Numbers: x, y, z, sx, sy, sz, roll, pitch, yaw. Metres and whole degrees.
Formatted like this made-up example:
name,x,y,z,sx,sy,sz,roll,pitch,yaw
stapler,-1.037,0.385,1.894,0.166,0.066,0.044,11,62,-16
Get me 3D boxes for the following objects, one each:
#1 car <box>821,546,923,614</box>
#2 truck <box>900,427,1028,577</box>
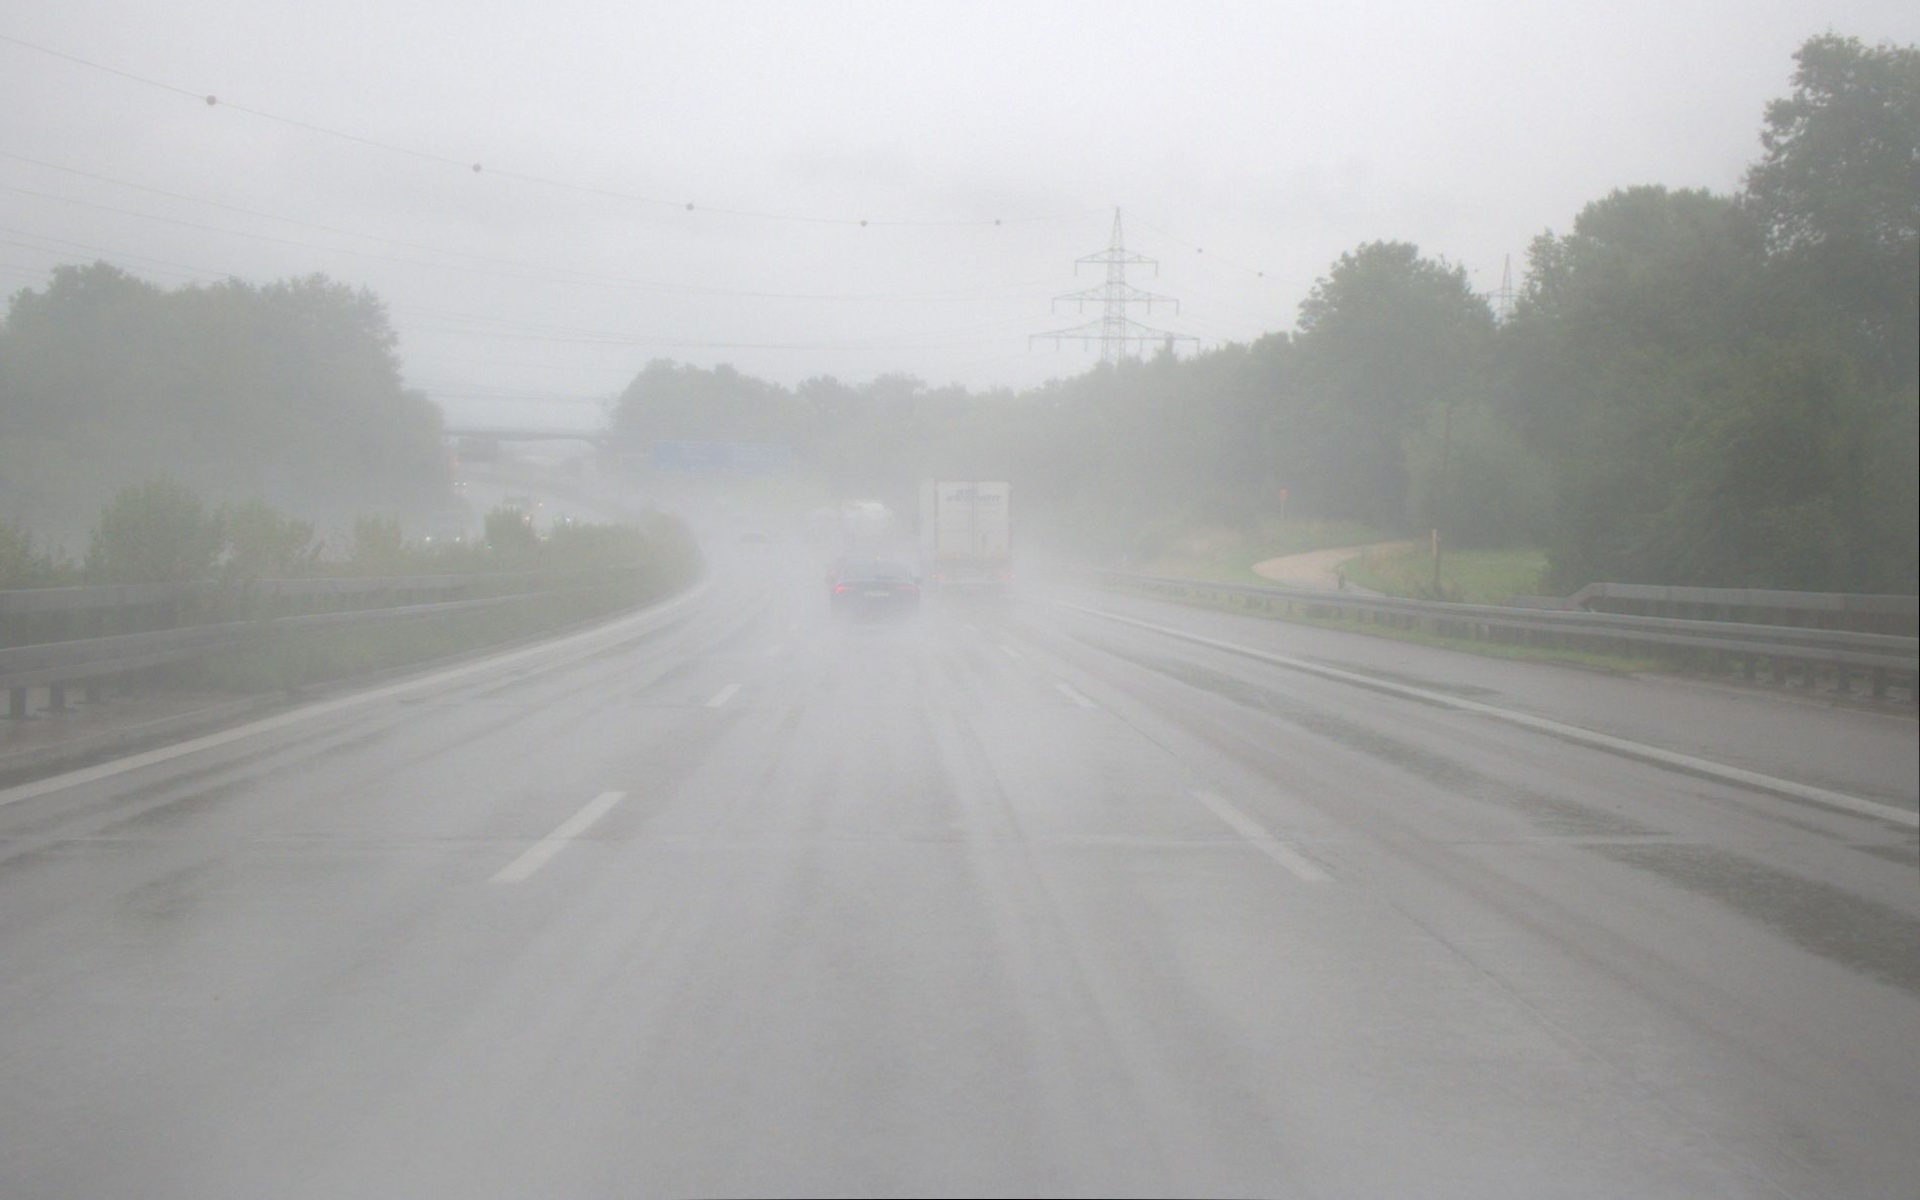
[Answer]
name,x,y,z,sx,sy,sz,roll,pitch,yaw
car,-1.719,-0.421,68.422,1.749,1.208,4.000,3,1,2
truck,0.294,-3.502,122.947,4.257,4.955,17.341,0,2,1
